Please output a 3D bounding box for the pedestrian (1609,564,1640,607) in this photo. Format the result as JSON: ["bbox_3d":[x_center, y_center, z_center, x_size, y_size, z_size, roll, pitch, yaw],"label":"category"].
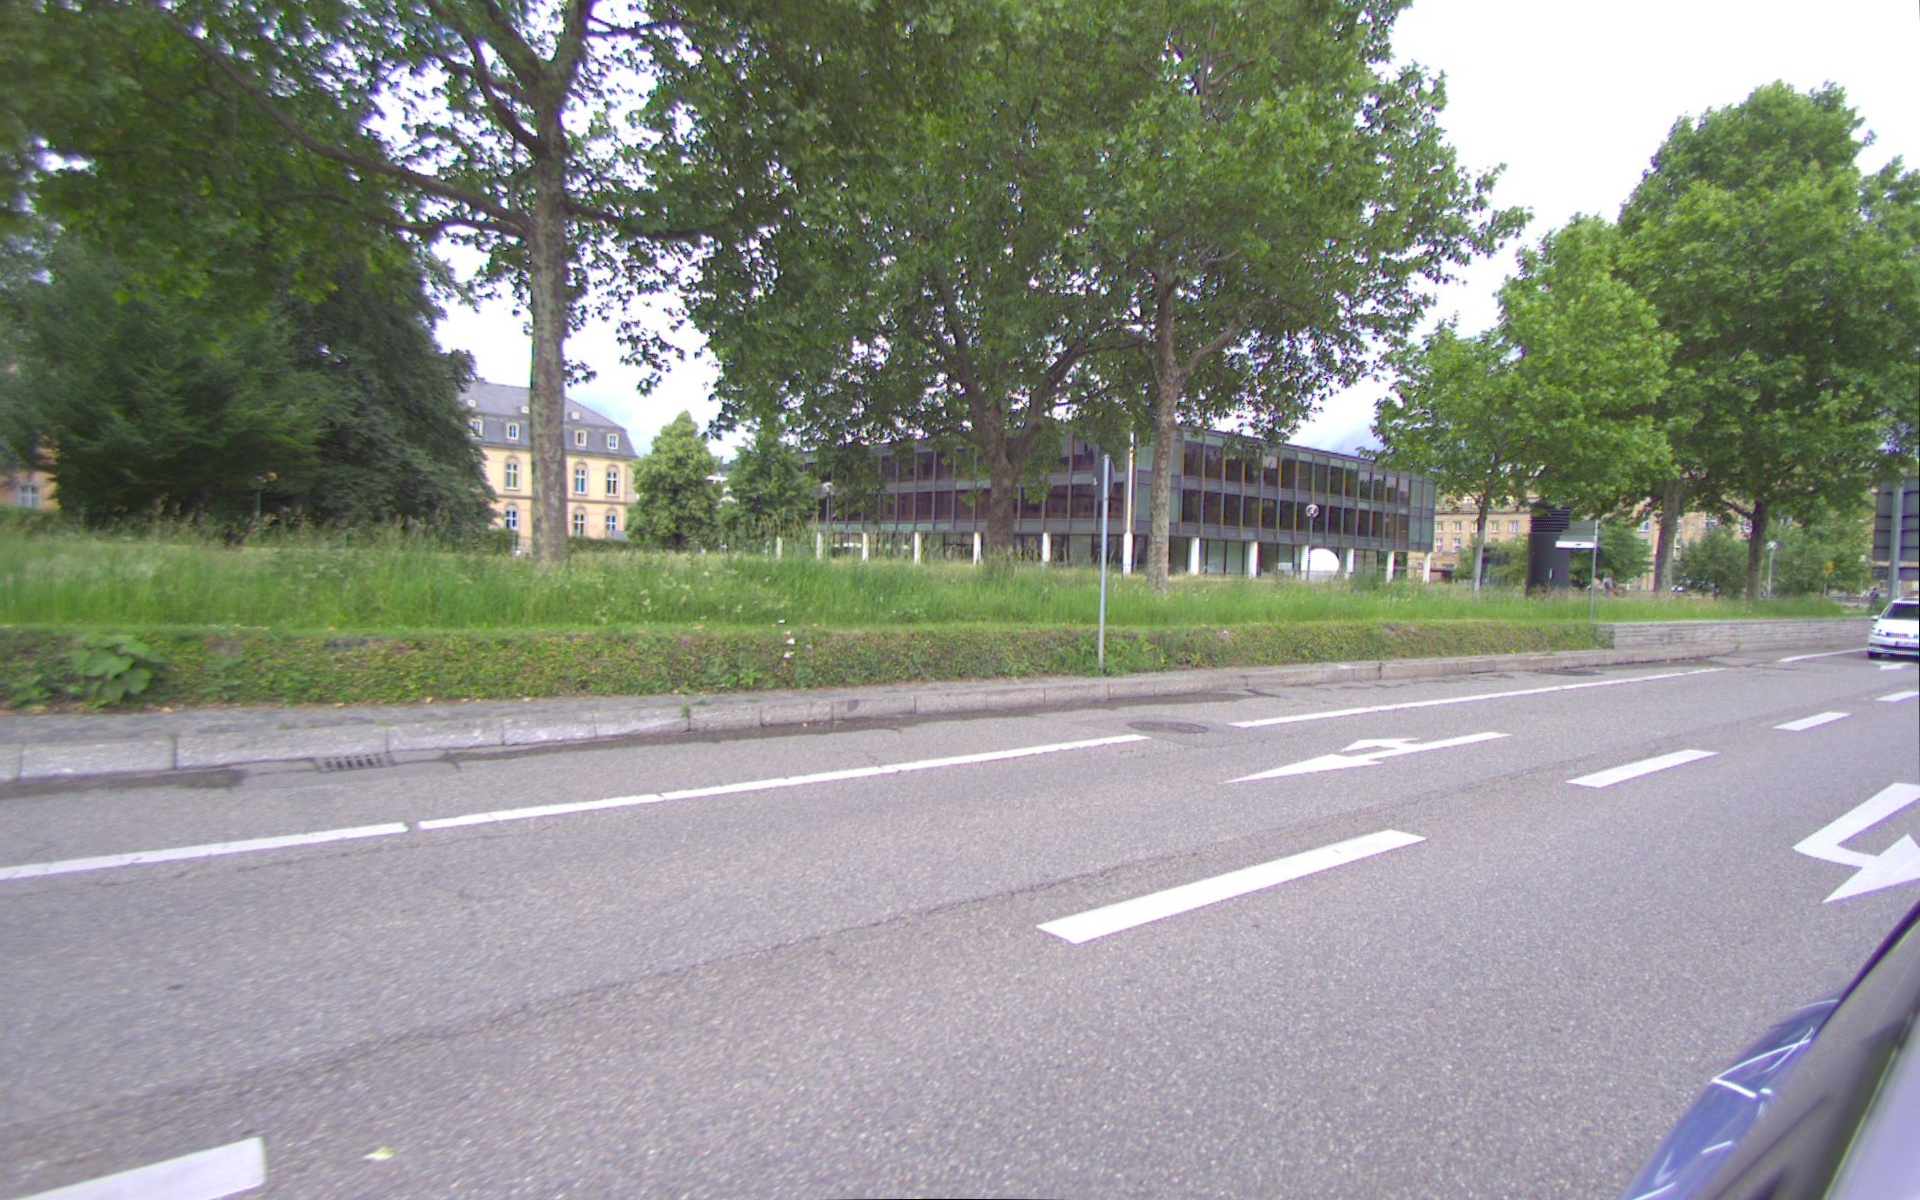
[{"bbox_3d":[29.487,-0.650,44.935,1.020,1.859,0.990,0,1,27],"label":"pedestrian"}]

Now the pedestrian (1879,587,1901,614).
[{"bbox_3d":[58.255,0.003,63.377,0.614,1.646,0.805,1,2,-32],"label":"pedestrian"}]

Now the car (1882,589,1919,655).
[{"bbox_3d":[26.036,0.558,26.843,3.928,1.613,1.696,-1,3,-38],"label":"car"}]
